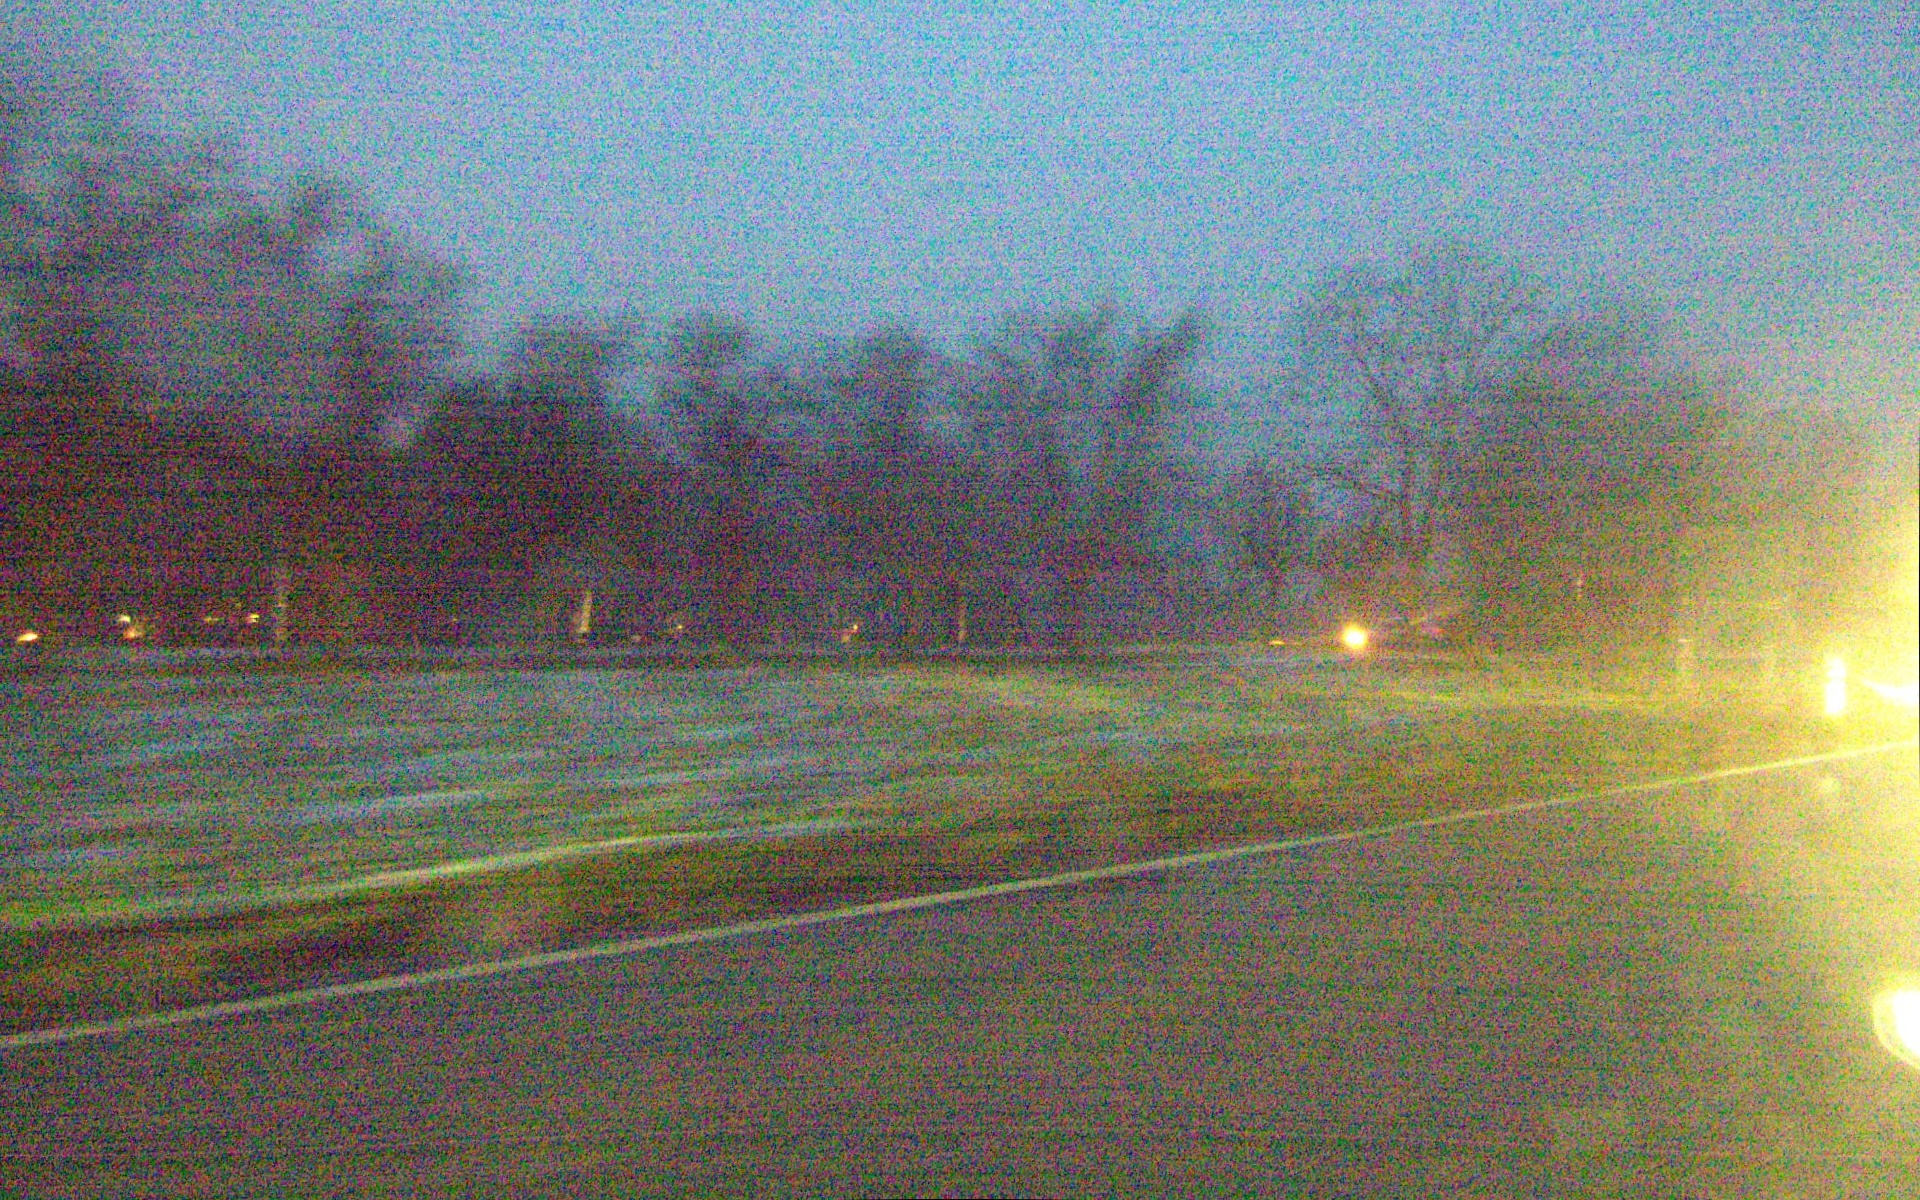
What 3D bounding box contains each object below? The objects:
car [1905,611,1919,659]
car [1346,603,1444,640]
[{"bbox_3d":[36.890,1.290,35.448,1.980,1.758,4.880,1,-1,-35],"label":"car"},{"bbox_3d":[20.986,1.047,48.575,4.079,1.709,1.695,0,-2,11],"label":"car"}]
